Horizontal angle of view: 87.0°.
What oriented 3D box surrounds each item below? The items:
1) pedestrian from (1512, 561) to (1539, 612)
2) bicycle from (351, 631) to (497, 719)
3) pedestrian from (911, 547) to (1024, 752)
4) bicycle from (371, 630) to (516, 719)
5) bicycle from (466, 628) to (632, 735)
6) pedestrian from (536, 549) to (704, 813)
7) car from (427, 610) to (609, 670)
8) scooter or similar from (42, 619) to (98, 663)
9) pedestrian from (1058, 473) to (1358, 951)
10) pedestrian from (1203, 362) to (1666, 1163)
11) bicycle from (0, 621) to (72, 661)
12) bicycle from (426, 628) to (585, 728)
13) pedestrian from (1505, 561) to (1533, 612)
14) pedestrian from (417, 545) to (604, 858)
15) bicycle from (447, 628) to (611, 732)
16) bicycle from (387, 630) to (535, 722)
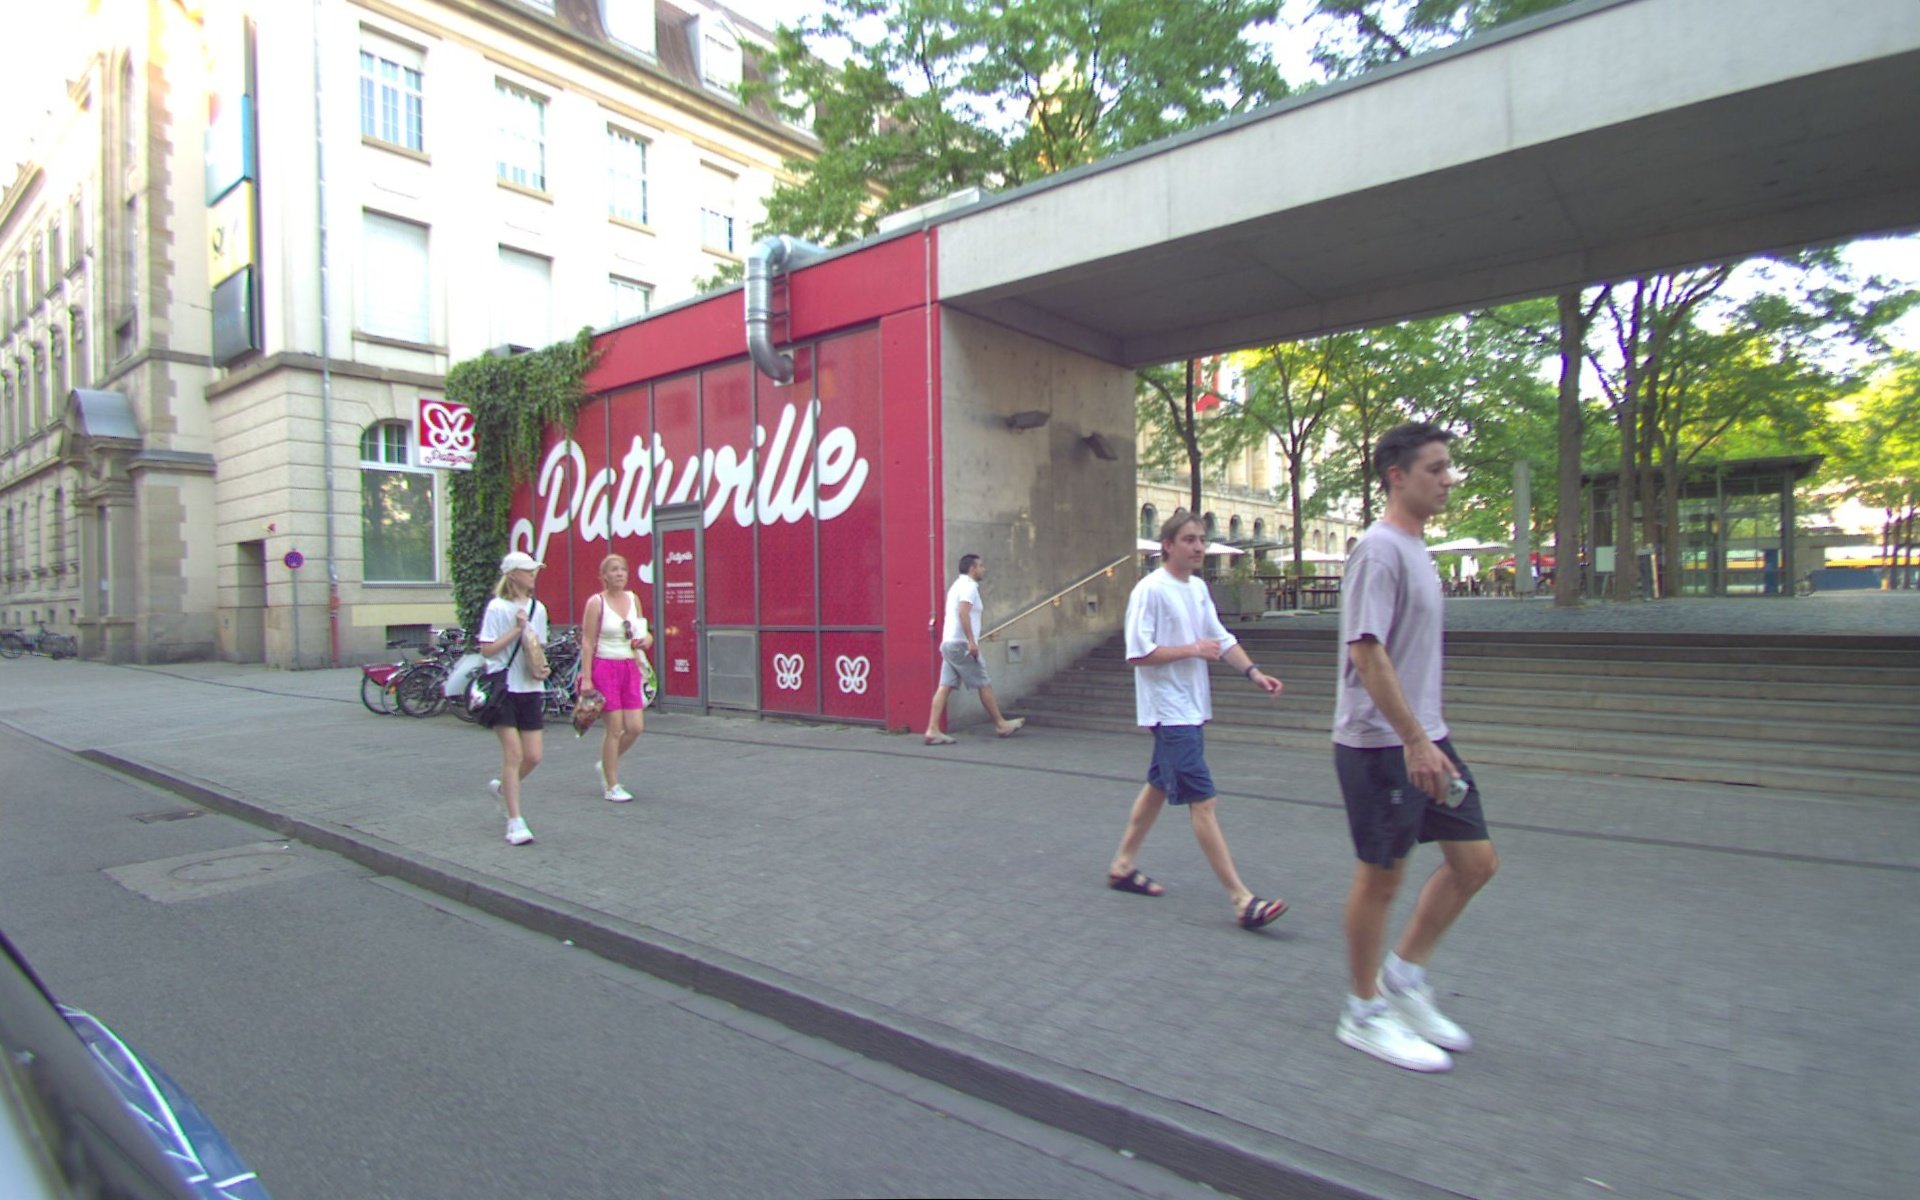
[{"bbox_3d":[26.477,-0.630,47.412,0.802,2.348,0.741,-1,-1,-29],"label":"pedestrian"},{"bbox_3d":[-7.636,1.033,14.487,0.499,1.116,1.776,-2,0,39],"label":"bicycle"},{"bbox_3d":[0.055,0.429,9.262,0.834,1.767,0.721,-2,0,-12],"label":"pedestrian"},{"bbox_3d":[-7.290,1.025,14.366,0.499,1.116,1.777,-2,0,38],"label":"bicycle"},{"bbox_3d":[-4.887,0.933,12.130,0.500,1.116,1.775,-1,0,42],"label":"bicycle"},{"bbox_3d":[-2.446,0.536,7.284,0.845,1.763,0.745,-2,1,39],"label":"pedestrian"},{"bbox_3d":[-11.286,0.972,26.049,1.748,1.381,3.966,-2,-1,38],"label":"car"},{"bbox_3d":[-26.564,1.226,30.217,0.494,1.242,1.126,-2,1,27],"label":"scooter or similar"},{"bbox_3d":[1.090,0.422,4.453,1.008,1.826,0.734,-2,2,39],"label":"pedestrian"},{"bbox_3d":[1.408,0.388,3.030,1.049,1.908,0.736,-2,1,40],"label":"pedestrian"},{"bbox_3d":[-29.727,1.294,32.323,0.616,1.069,1.928,-1,3,24],"label":"bicycle"},{"bbox_3d":[-5.729,0.948,12.840,0.500,1.116,1.775,-1,0,42],"label":"bicycle"},{"bbox_3d":[25.827,-0.625,46.763,0.802,2.348,0.741,-1,-1,-28],"label":"pedestrian"},{"bbox_3d":[-2.781,0.576,6.251,0.984,1.763,0.642,-2,0,39],"label":"pedestrian"},{"bbox_3d":[-5.253,0.941,12.425,0.500,1.116,1.775,-1,0,42],"label":"bicycle"},{"bbox_3d":[-6.876,1.015,14.026,0.499,1.116,1.777,-2,0,38],"label":"bicycle"}]
